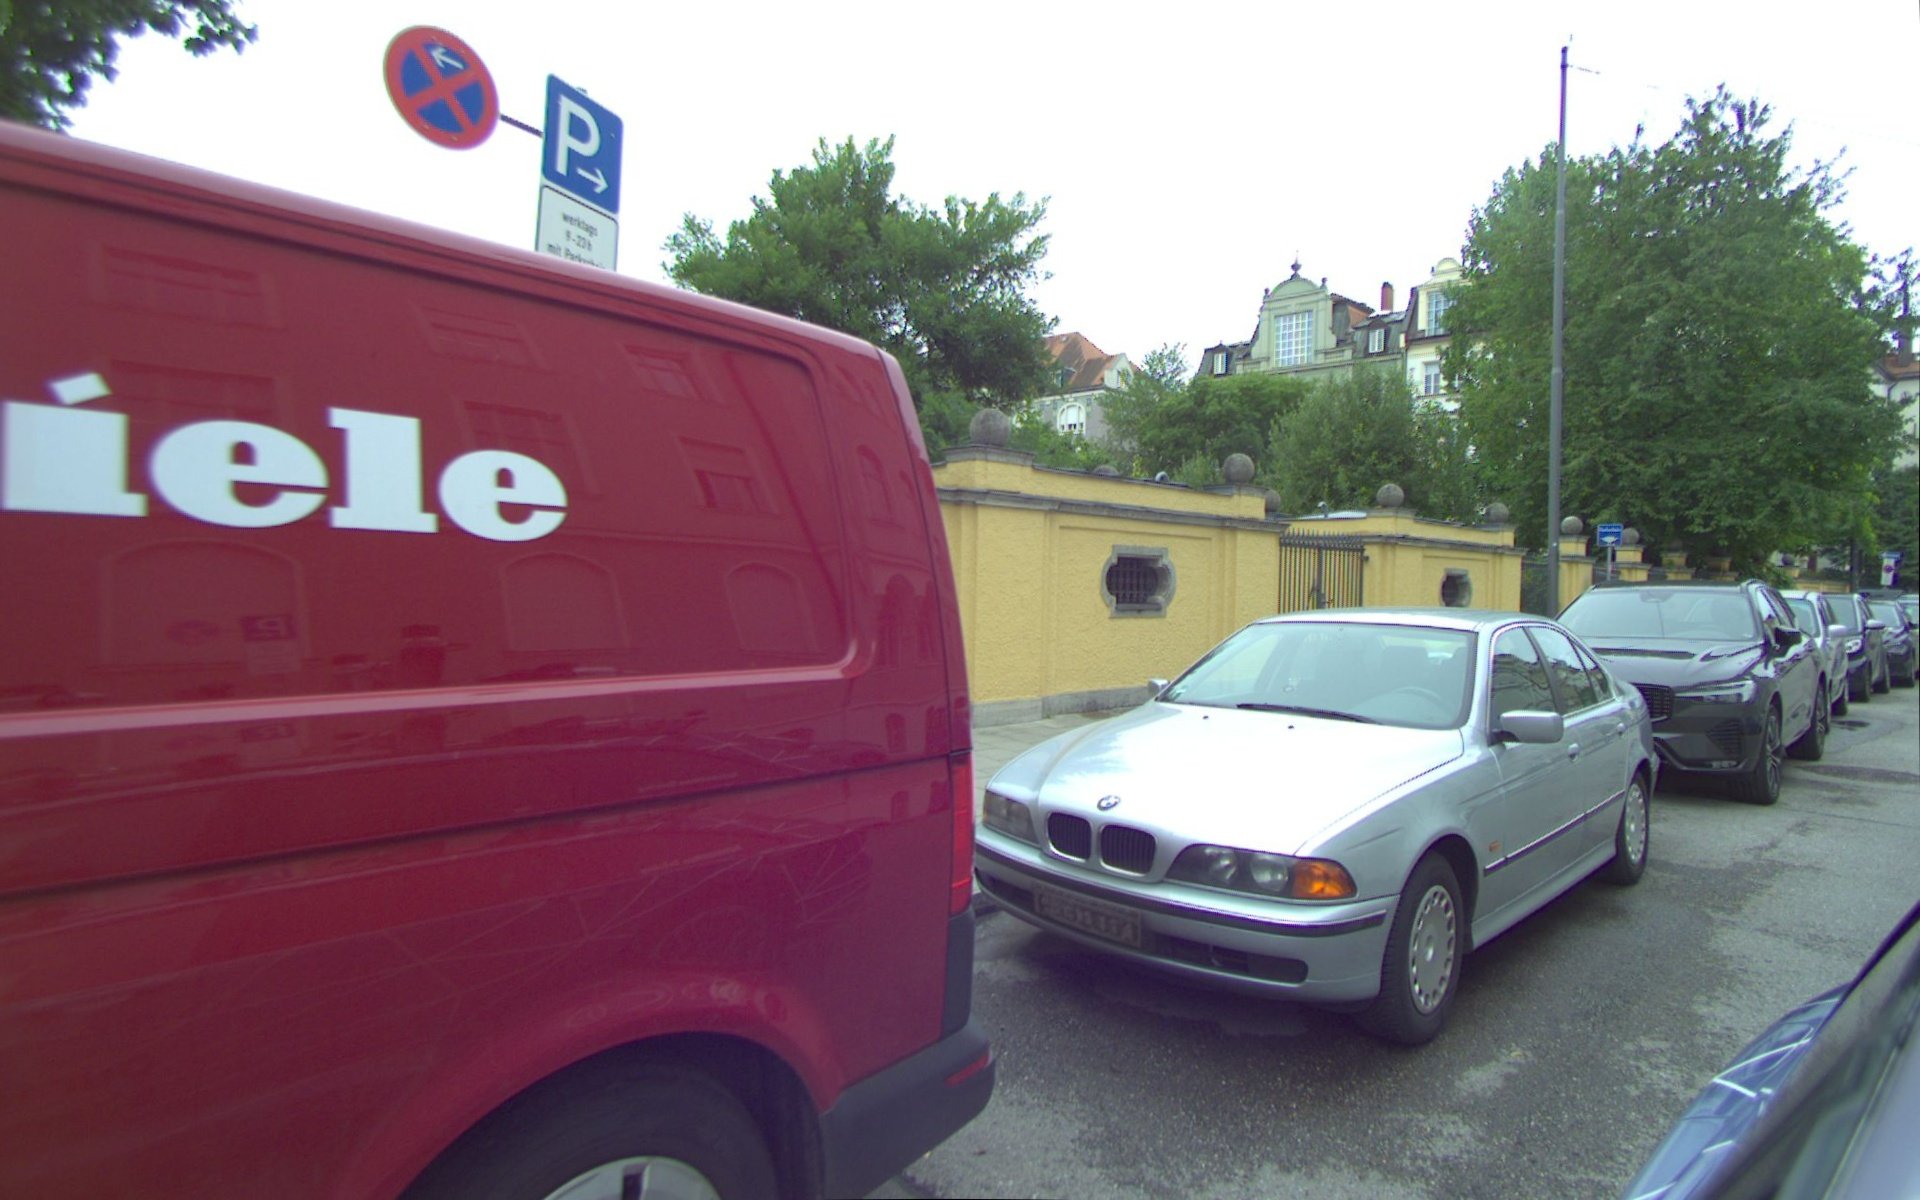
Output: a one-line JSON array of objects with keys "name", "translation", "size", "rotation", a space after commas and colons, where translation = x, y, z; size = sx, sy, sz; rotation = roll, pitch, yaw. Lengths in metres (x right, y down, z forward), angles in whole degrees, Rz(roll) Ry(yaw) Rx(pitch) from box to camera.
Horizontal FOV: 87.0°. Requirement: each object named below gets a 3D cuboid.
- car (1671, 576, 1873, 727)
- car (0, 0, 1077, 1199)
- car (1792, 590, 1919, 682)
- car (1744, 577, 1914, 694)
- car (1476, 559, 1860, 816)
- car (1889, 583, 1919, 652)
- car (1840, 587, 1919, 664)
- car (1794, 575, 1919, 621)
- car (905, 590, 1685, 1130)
[{"name": "car", "translation": [9.907, 0.516, 12.251], "size": [3.632, 1.559, 1.485], "rotation": [0, 0, -44]}, {"name": "car", "translation": [-2.155, 0.338, 1.094], "size": [4.804, 1.945, 1.876], "rotation": [0, 1, -43]}, {"name": "car", "translation": [16.065, 0.555, 17.795], "size": [3.968, 1.432, 1.694], "rotation": [-1, 0, -43]}, {"name": "car", "translation": [13.096, 0.470, 15.220], "size": [2.819, 1.586, 1.510], "rotation": [0, 0, -40]}, {"name": "car", "translation": [6.429, 0.558, 8.938], "size": [4.743, 1.674, 1.886], "rotation": [0, 0, -44]}, {"name": "car", "translation": [24.300, 0.419, 24.826], "size": [4.610, 1.590, 1.716], "rotation": [0, 2, -41]}, {"name": "car", "translation": [19.789, 0.486, 20.980], "size": [4.436, 1.432, 1.695], "rotation": [0, 2, -41]}, {"name": "car", "translation": [41.828, -0.106, 46.919], "size": [1.713, 1.895, 4.669], "rotation": [3, 0, -44]}, {"name": "car", "translation": [1.957, 0.693, 4.949], "size": [4.297, 1.467, 1.885], "rotation": [0, 0, -45]}]
